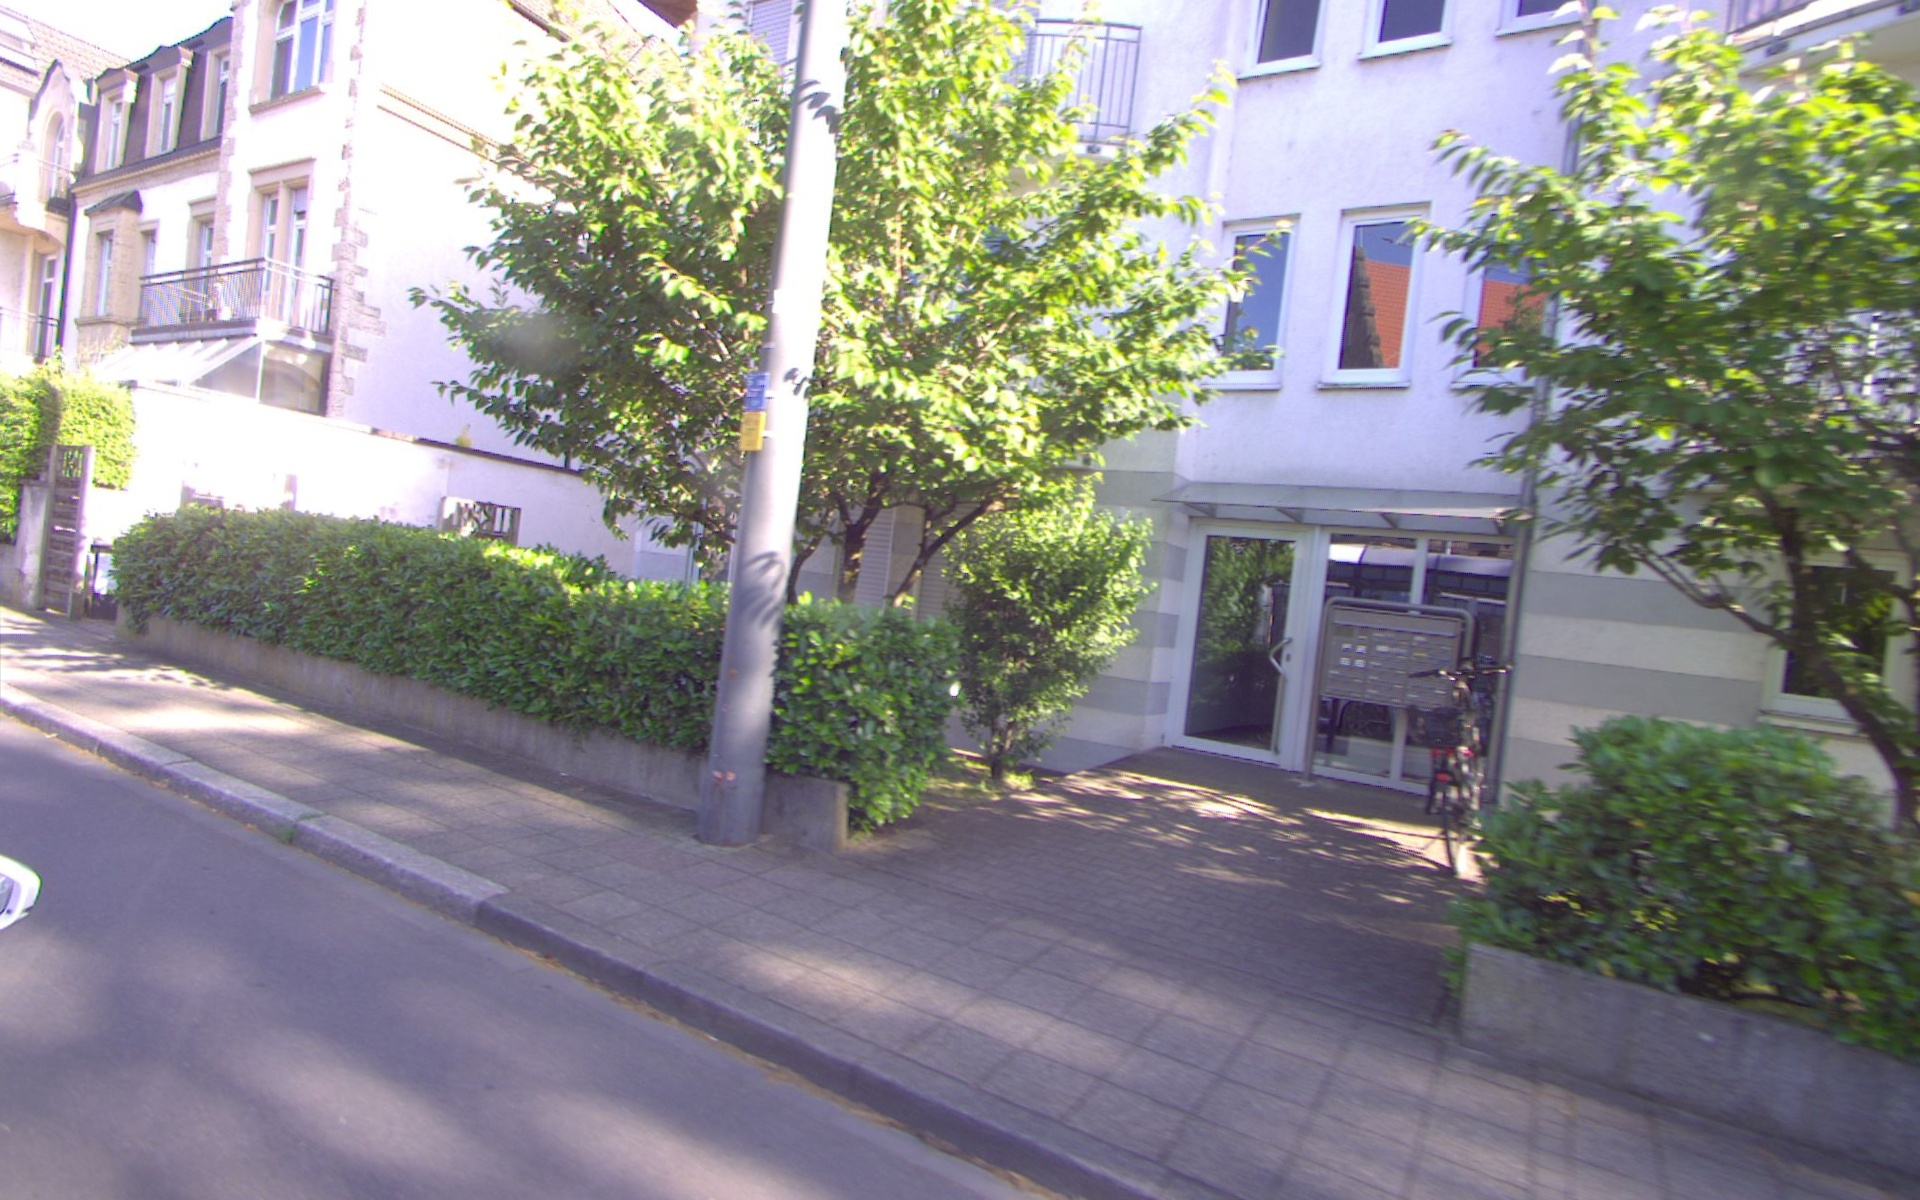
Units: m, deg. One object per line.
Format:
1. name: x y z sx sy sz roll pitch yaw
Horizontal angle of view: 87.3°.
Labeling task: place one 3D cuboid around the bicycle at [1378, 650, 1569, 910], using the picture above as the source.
1. bicycle: 3.237 0.995 6.258 0.811 1.220 1.840 7 3 31
